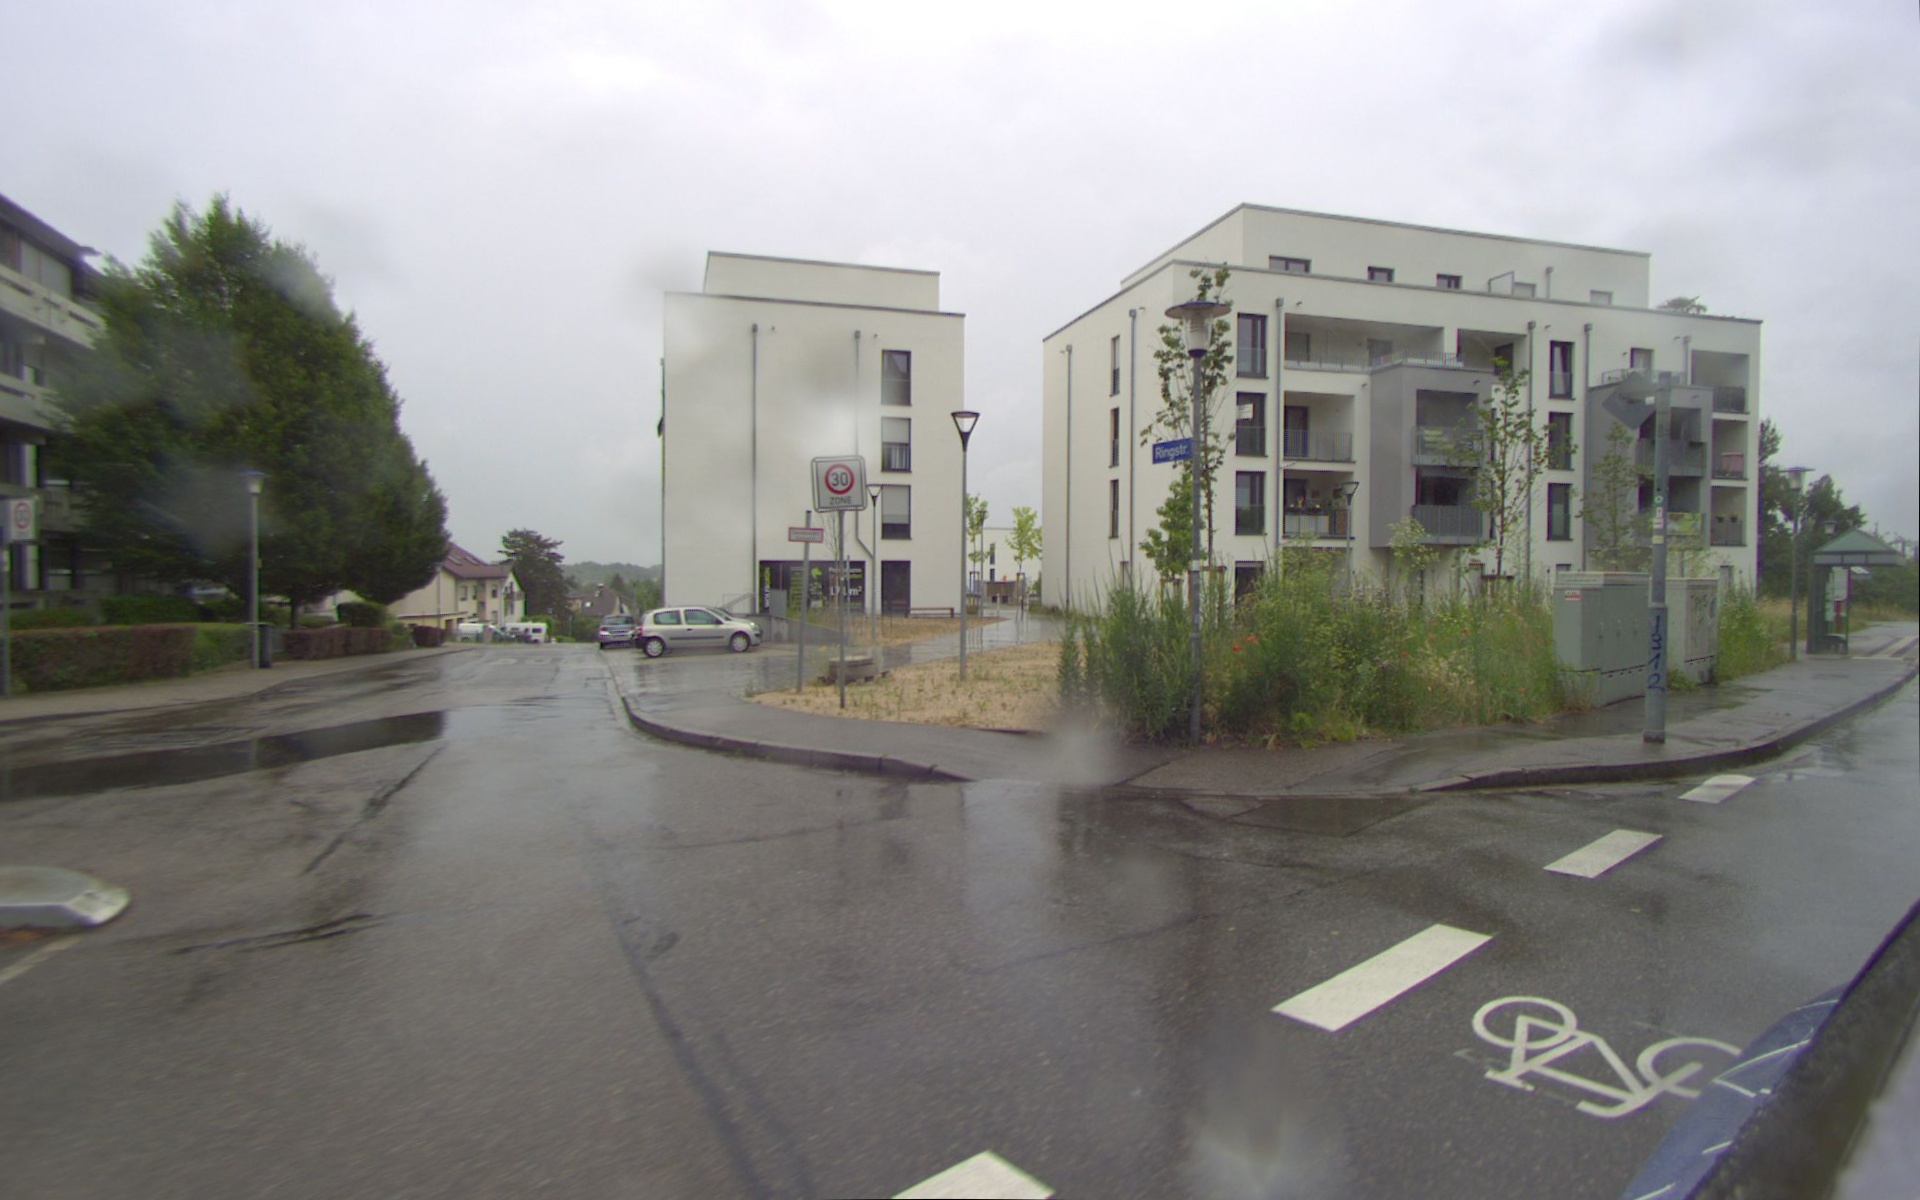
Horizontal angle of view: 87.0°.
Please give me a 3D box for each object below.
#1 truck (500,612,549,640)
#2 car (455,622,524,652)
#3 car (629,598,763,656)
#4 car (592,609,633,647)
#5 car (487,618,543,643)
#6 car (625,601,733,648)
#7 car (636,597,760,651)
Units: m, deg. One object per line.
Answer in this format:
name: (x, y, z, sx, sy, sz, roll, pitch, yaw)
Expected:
truck: (-47.660, 2.832, 110.839, 4.737, 3.071, 2.004, 1, 0, -15)
car: (-40.470, 3.181, 87.120, 5.056, 2.475, 2.004, 1, 0, -15)
car: (-7.850, 0.760, 30.025, 3.630, 1.459, 1.725, -3, 1, -21)
car: (-15.125, 1.188, 44.103, 1.609, 1.515, 3.572, 1, 0, -18)
car: (-46.302, 3.158, 105.474, 5.056, 2.475, 2.004, 1, 0, -15)
car: (-10.358, 0.856, 37.323, 3.630, 1.459, 1.725, -3, 1, -21)
car: (-8.435, 0.742, 32.561, 3.630, 1.459, 1.725, -3, 1, -21)
